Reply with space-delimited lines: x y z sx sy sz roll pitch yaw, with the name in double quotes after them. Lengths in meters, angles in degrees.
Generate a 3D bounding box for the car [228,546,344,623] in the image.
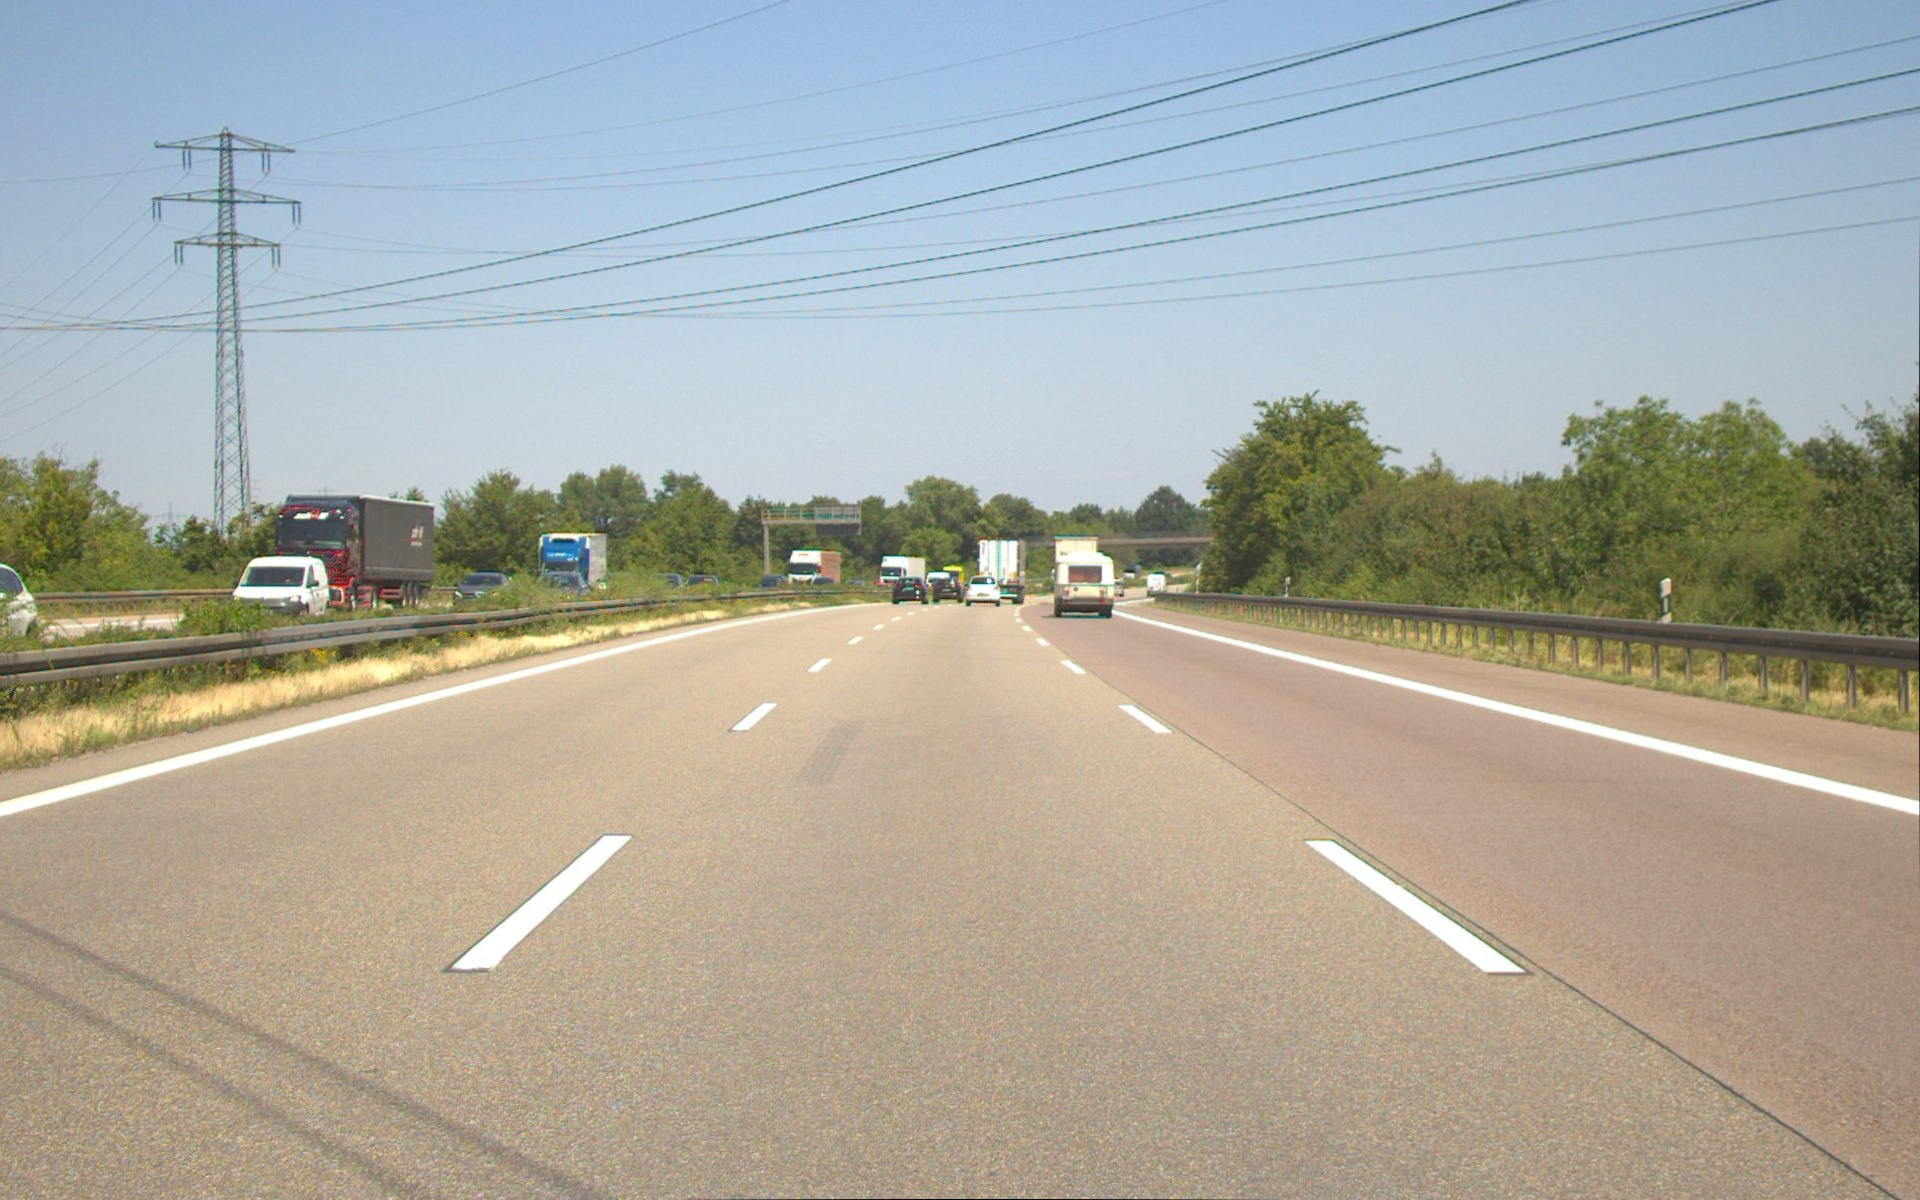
-16.327 -0.395 83.498 1.971 1.767 4.368 1 1 0 "car"

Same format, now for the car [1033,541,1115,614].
3.791 -0.782 115.093 2.442 2.313 5.322 -1 1 -1 "car"

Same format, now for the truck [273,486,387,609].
-20.971 -1.761 114.697 2.648 3.969 5.992 1 1 0 "truck"

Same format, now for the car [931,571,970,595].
-0.605 -1.143 226.714 1.828 1.542 4.317 2 1 9 "car"

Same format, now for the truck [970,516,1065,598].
3.754 -2.784 219.206 3.668 5.001 16.011 1 1 9 "truck"

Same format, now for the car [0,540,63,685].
-13.370 0.134 45.134 1.993 1.846 4.535 1 1 0 "car"

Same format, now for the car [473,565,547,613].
-16.121 -0.426 123.466 1.944 1.612 5.017 1 1 0 "car"

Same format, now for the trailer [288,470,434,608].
-20.955 -2.184 121.156 2.648 4.536 13.865 1 1 0 "trailer"

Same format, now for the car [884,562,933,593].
-2.707 -1.193 182.202 1.828 1.542 4.317 2 1 9 "car"

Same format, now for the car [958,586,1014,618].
1.315 0.097 172.667 1.829 1.542 4.316 2 1 14 "car"

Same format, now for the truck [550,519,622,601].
-18.869 -2.087 174.097 2.453 3.962 9.671 -2 1 0 "truck"

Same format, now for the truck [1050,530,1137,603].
8.348 -2.113 212.426 3.182 4.289 16.011 1 1 10 "truck"
